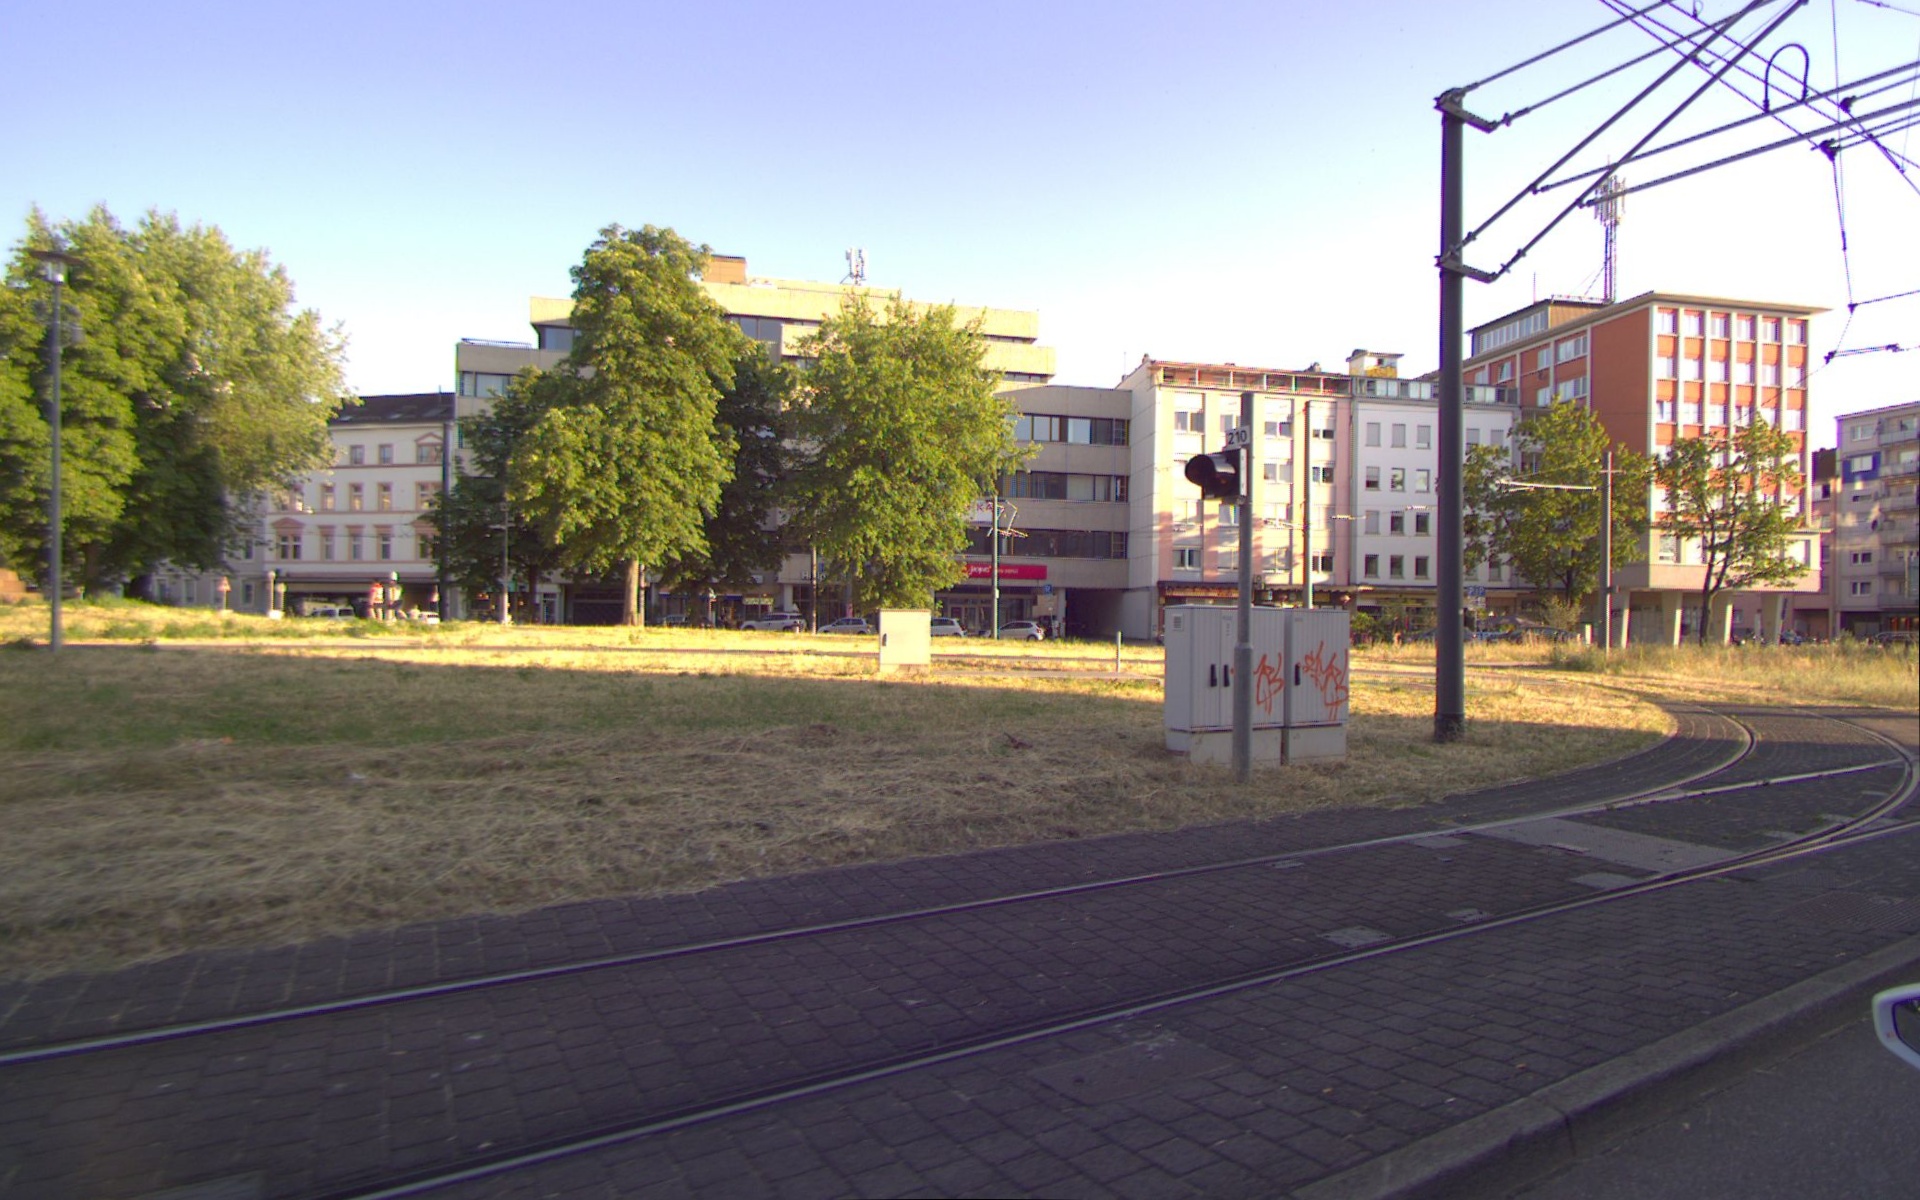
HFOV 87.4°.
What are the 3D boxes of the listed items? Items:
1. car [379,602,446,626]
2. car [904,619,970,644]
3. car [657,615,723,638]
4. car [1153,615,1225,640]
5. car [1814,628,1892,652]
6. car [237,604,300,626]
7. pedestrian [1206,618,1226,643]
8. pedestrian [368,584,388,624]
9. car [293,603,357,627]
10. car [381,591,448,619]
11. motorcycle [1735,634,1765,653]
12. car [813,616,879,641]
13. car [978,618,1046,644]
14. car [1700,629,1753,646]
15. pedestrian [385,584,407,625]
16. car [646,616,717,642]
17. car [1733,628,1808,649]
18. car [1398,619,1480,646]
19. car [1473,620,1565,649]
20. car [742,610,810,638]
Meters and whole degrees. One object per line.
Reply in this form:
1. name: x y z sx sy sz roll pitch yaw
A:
1. car: -37.735 0.978 69.262 3.919 1.601 1.798 -1 -1 15
2. car: -1.467 1.998 64.096 3.919 1.572 1.761 -1 -1 11
3. car: -18.529 1.811 69.038 3.986 1.577 1.867 -1 -1 11
4. car: 12.927 1.555 56.790 3.919 1.408 1.712 -1 -1 13
5. car: 64.742 2.891 72.904 1.774 1.606 3.864 0 -1 -16
6. car: -52.393 1.150 76.103 3.919 1.601 1.798 -1 -1 15
7. pedestrian: 16.263 1.924 63.844 0.839 1.548 1.119 0 -1 -13
8. pedestrian: -22.624 0.168 39.062 0.543 1.532 0.453 0 -1 -10
9. car: -47.250 1.117 74.734 3.919 1.686 1.761 -1 -1 11
10. car: -39.555 0.369 72.878 4.124 1.970 1.761 -1 -1 11
11. motorcycle: 47.677 2.628 60.629 0.522 1.082 1.451 0 -1 -12
12. car: -7.394 1.875 65.279 3.919 1.572 1.761 -1 -1 11
13. car: 3.264 1.936 62.875 3.919 1.572 1.761 -1 -1 15
14. car: 75.641 3.692 99.191 1.774 1.606 3.864 0 -1 -16
15. pedestrian: -22.344 0.168 39.802 0.543 1.602 0.619 0 -1 -10
16. car: -17.948 1.867 64.866 3.986 1.577 1.867 -1 -1 11
17. car: 64.117 3.033 79.582 1.956 1.606 4.279 0 -1 -16
18. car: 27.617 1.866 58.003 3.919 1.547 1.761 -1 -1 11
19. car: 31.793 1.954 57.208 4.205 1.547 1.761 -1 -1 11
20. car: -12.209 1.603 66.763 4.124 1.818 1.761 -1 -1 11
